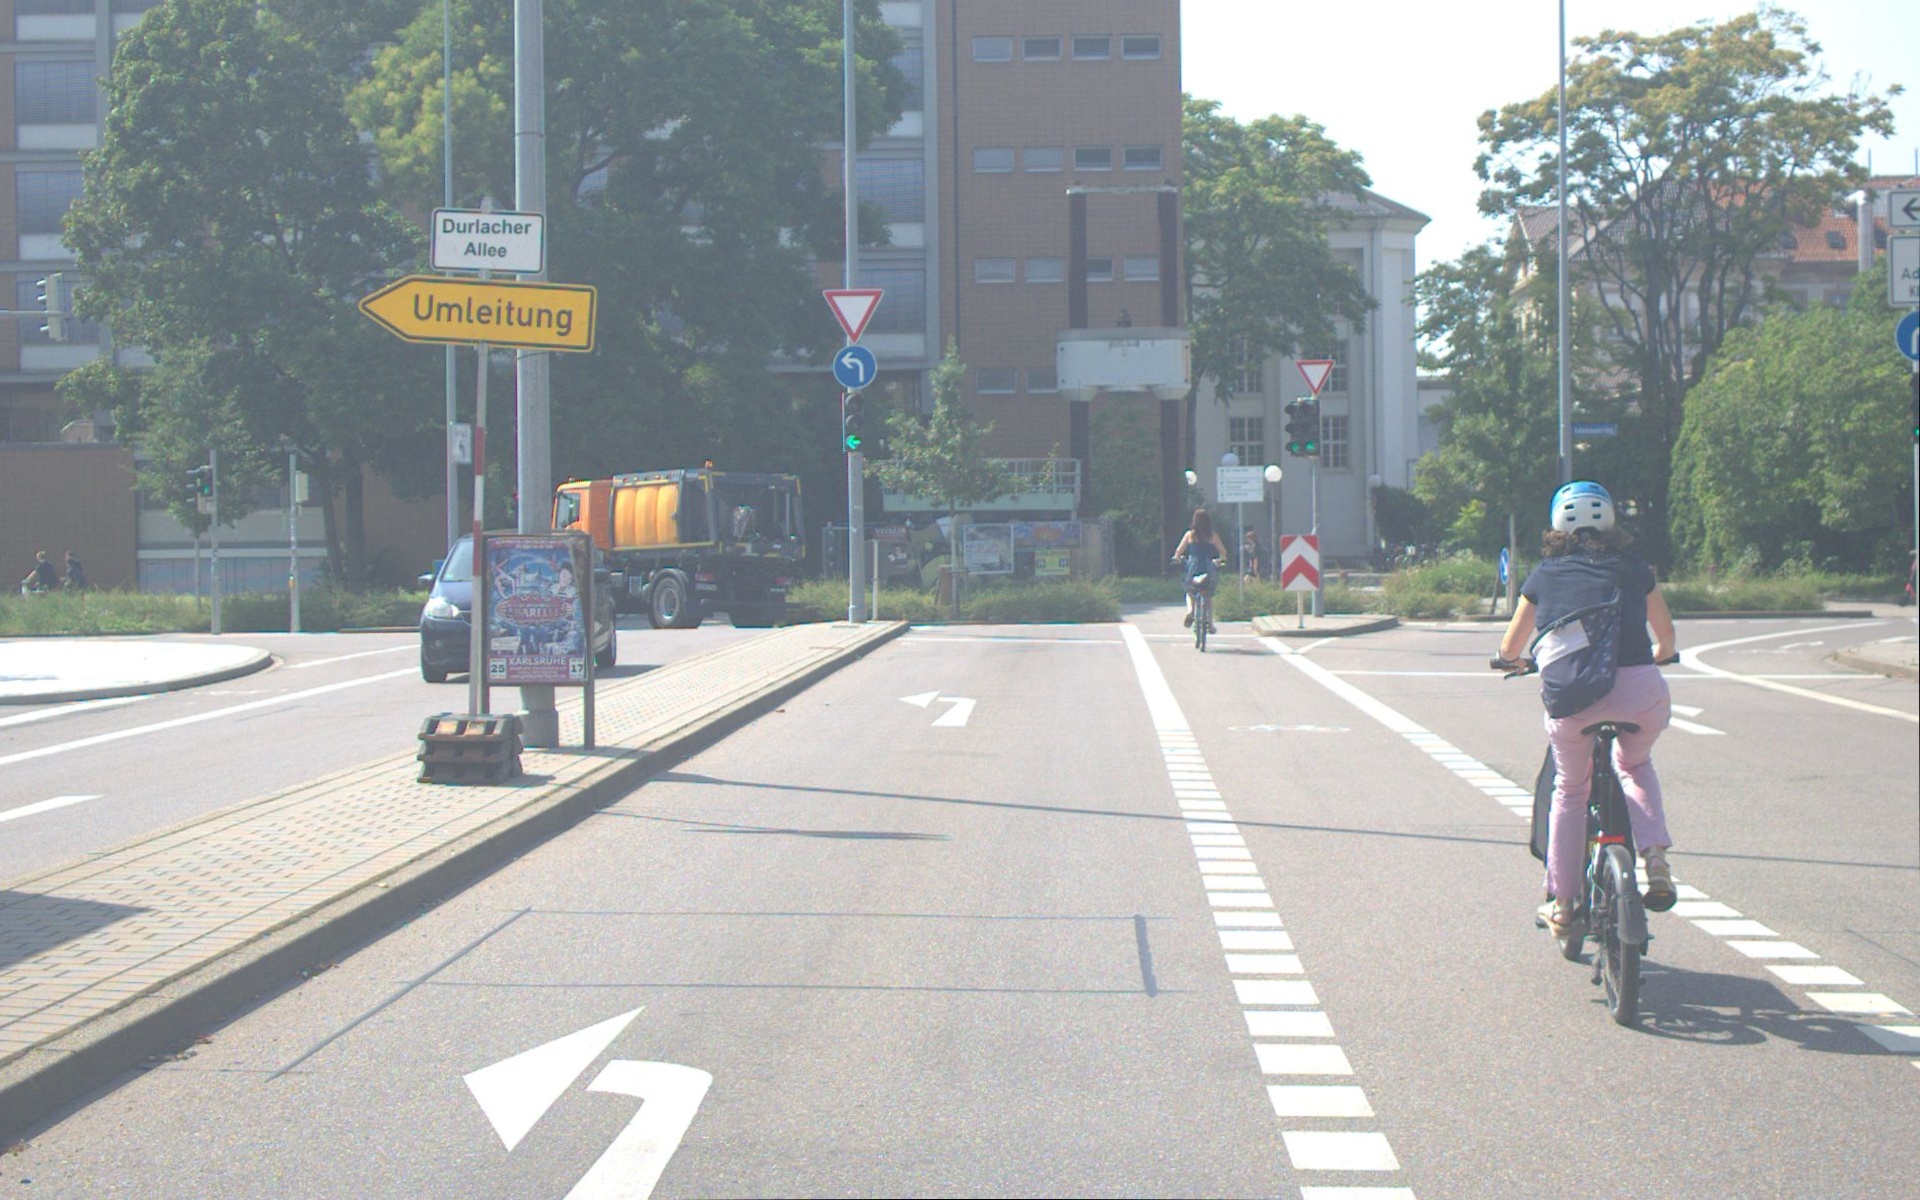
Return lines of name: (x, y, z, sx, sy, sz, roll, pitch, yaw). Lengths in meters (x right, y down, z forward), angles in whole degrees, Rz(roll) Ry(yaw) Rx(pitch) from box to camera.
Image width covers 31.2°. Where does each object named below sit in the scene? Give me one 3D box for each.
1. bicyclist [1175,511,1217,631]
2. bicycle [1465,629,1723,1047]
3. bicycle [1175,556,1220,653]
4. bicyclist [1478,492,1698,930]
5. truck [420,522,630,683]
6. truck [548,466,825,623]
bicyclist: (2.818, -0.346, 41.112, 0.450, 1.416, 0.496, -1, 1, 1)
bicycle: (1.976, 0.702, 10.899, 0.604, 1.159, 1.810, -1, 1, 4)
bicycle: (2.822, 0.040, 40.980, 0.444, 1.113, 1.446, -1, 1, 1)
bicyclist: (1.958, 0.332, 10.782, 0.603, 1.330, 0.660, -1, 1, 4)
truck: (-4.293, -0.015, 34.380, 1.555, 1.499, 3.621, -1, 1, 1)
truck: (-5.510, -1.081, 68.429, 2.697, 2.979, 5.965, -1, 1, -37)
